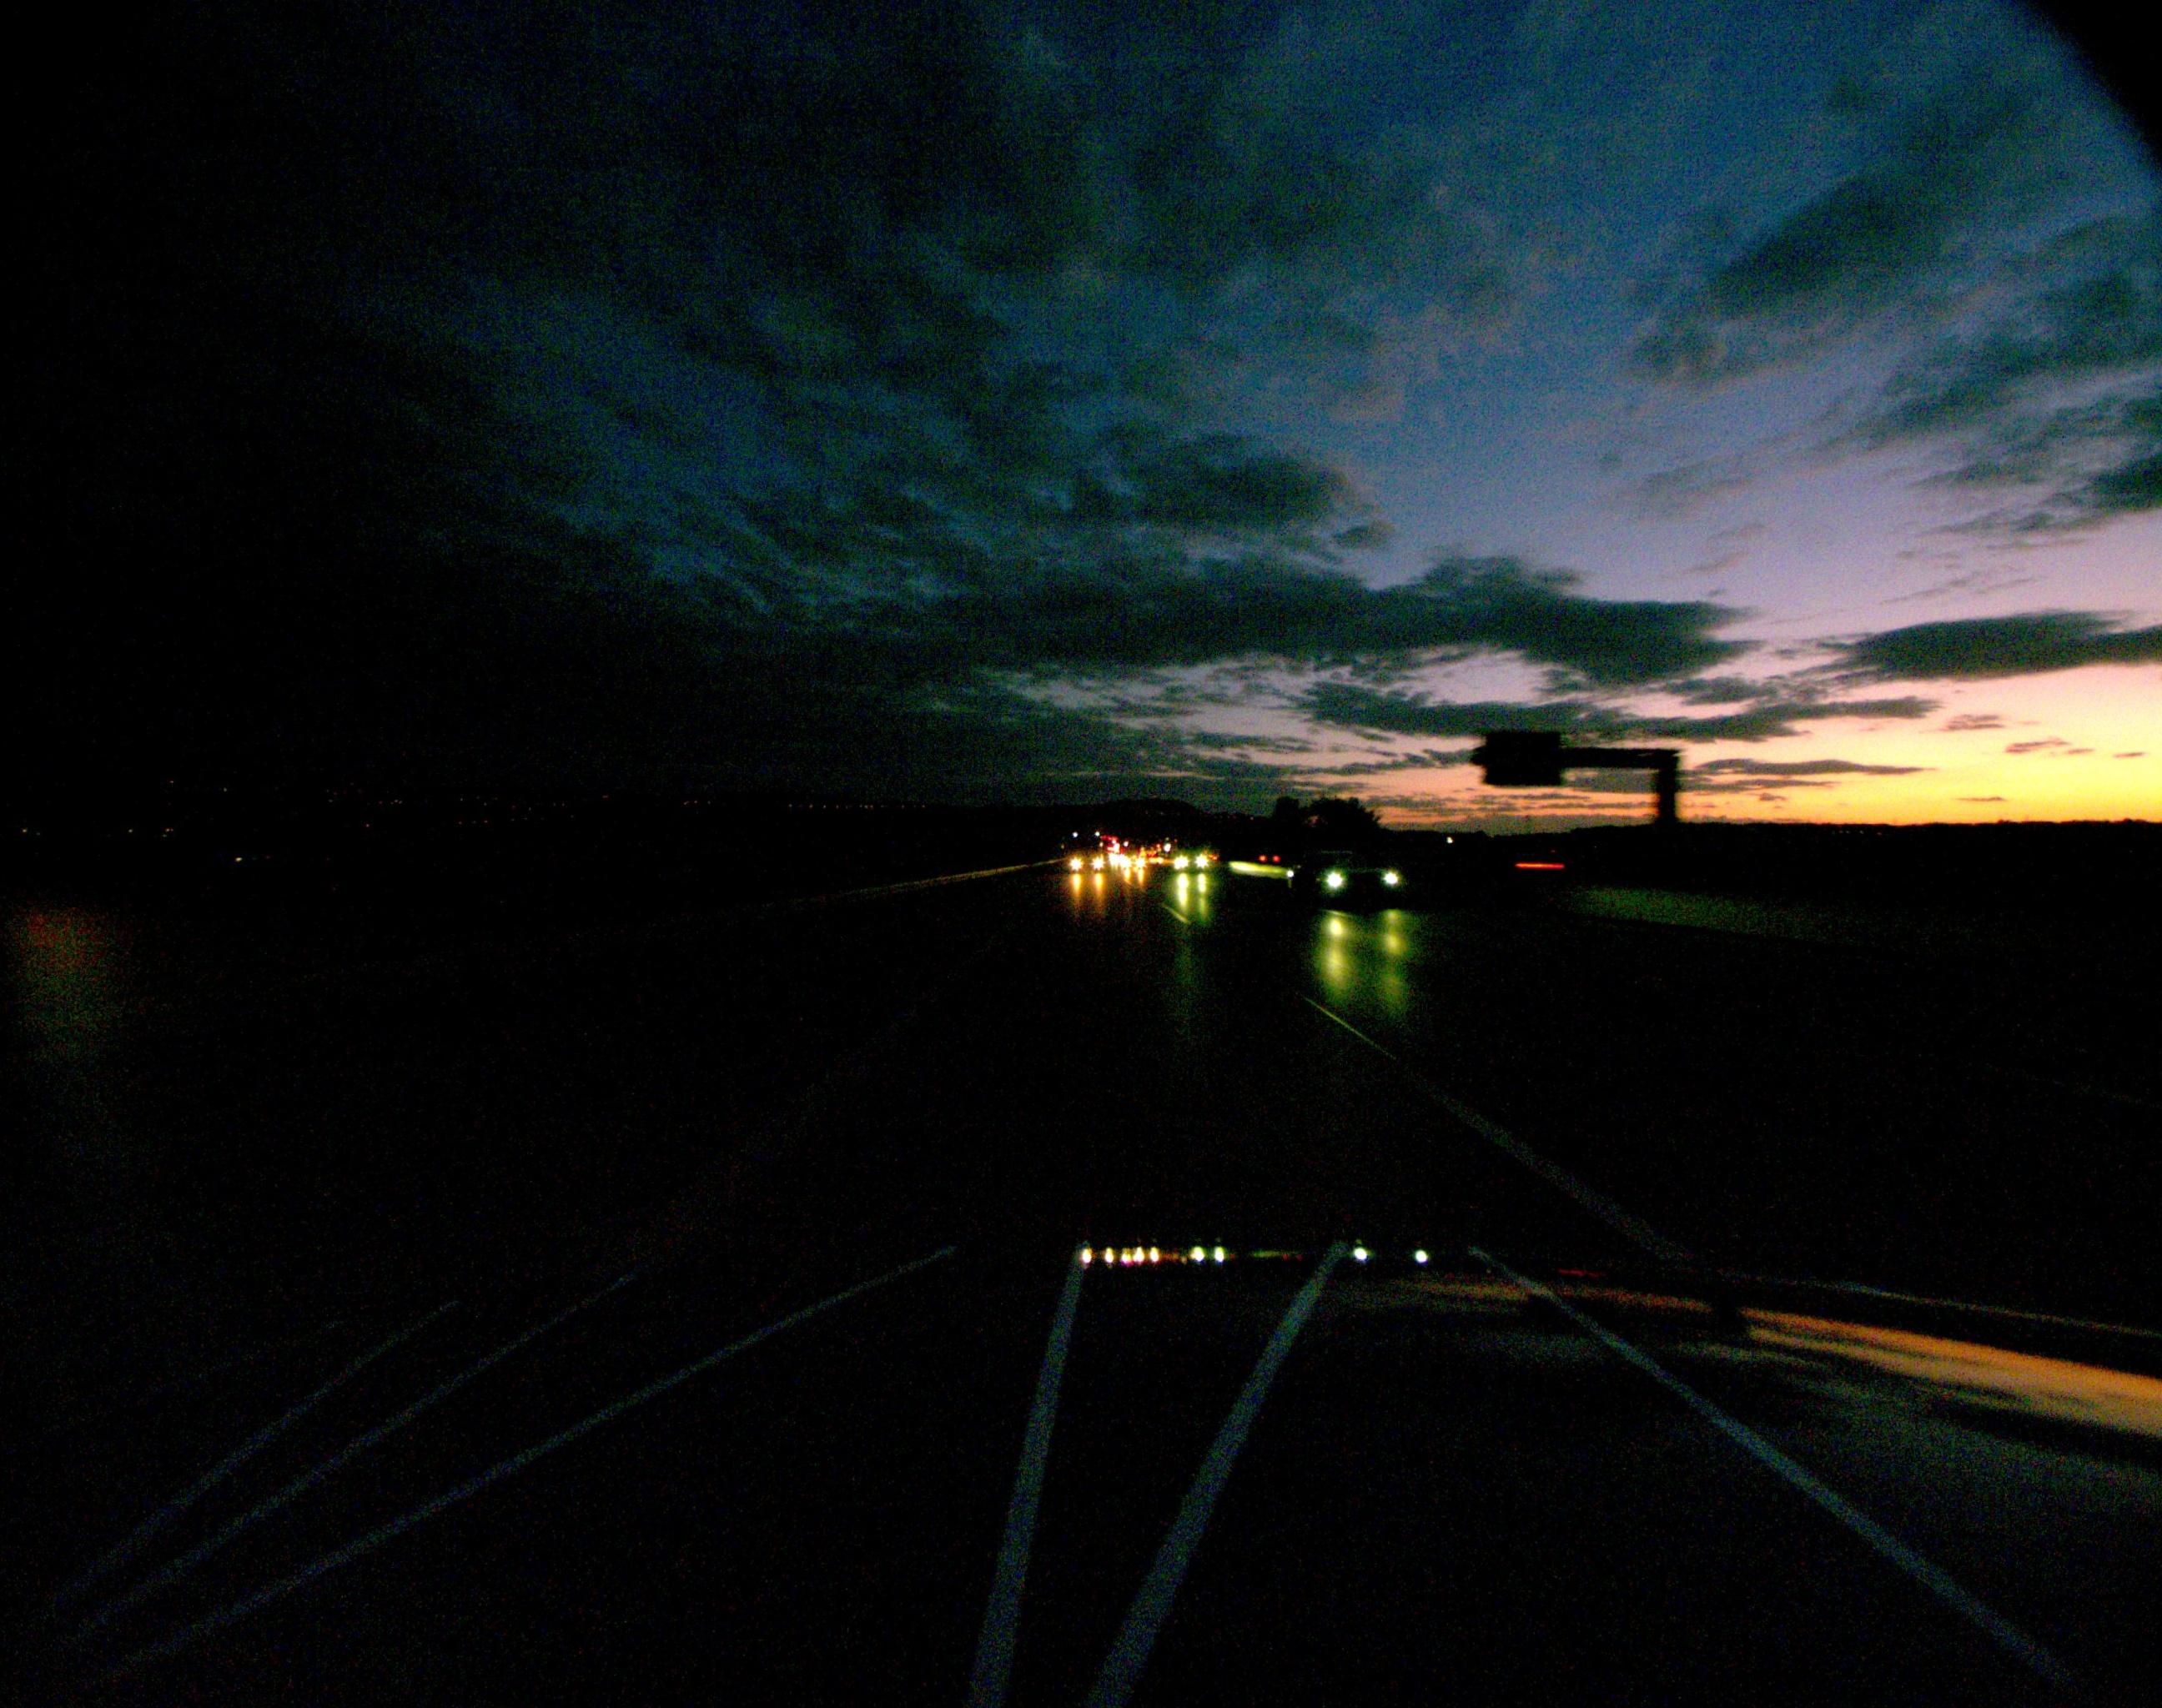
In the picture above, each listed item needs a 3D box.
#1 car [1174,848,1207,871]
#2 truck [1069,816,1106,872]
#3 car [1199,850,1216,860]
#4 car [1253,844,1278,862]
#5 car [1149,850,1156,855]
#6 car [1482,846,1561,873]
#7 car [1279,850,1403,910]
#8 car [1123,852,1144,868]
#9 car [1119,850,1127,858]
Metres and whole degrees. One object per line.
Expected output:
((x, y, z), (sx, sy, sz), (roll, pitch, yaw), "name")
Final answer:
((8.504, 0.399, 59.400), (1.819, 1.638, 4.856), (-2, 1, 0), "car")
((0.632, -0.828, 70.644), (3.012, 4.570, 12.578), (-2, 0, 1), "truck")
((17.367, 0.134, 104.494), (1.736, 1.362, 3.900), (-2, 1, 1), "car")
((24.903, -0.176, 102.909), (1.998, 2.374, 5.835), (-2, 1, 1), "car")
((23.125, -0.597, 246.438), (1.864, 1.445, 4.274), (-2, 1, 1), "car")
((24.074, 0.271, 41.695), (1.740, 1.312, 4.551), (-2, 1, 1), "car")
((7.465, 0.666, 22.459), (1.819, 1.429, 5.394), (-2, 1, 0), "car")
((5.226, 0.580, 76.512), (1.802, 1.531, 4.159), (-2, 1, 1), "car")
((10.743, -0.017, 193.602), (1.862, 1.826, 3.999), (-2, 1, 1), "car")
